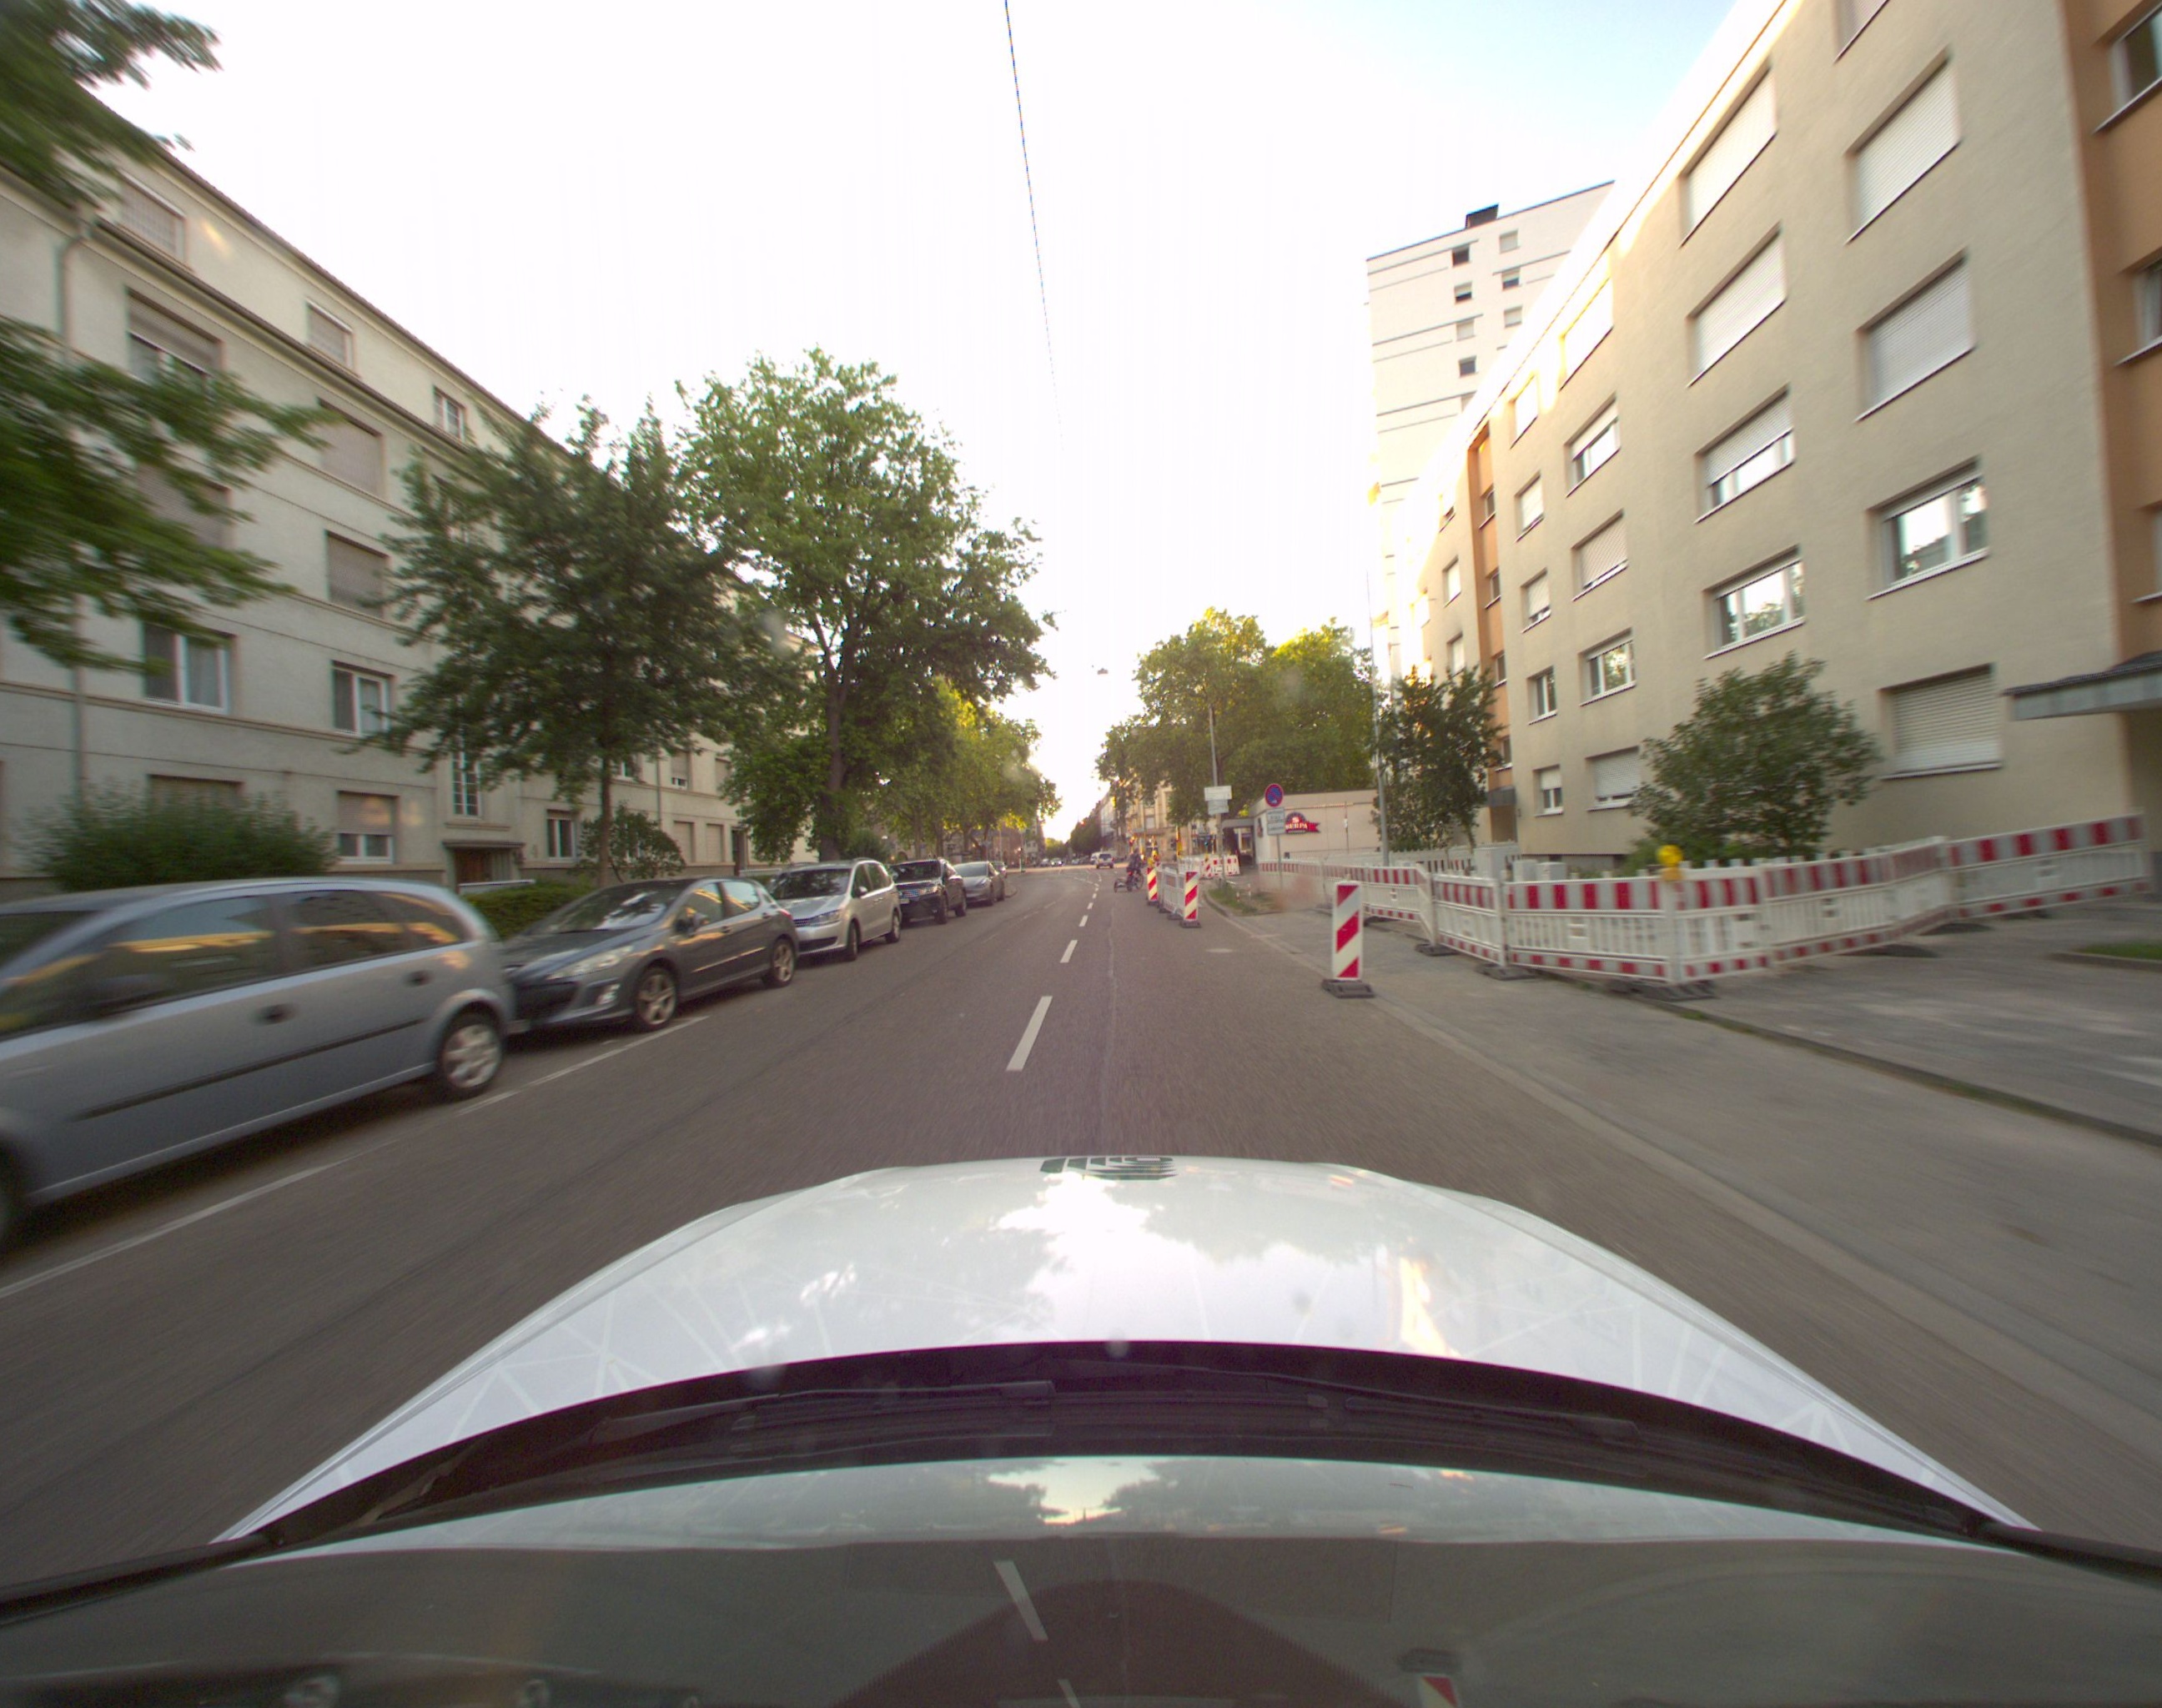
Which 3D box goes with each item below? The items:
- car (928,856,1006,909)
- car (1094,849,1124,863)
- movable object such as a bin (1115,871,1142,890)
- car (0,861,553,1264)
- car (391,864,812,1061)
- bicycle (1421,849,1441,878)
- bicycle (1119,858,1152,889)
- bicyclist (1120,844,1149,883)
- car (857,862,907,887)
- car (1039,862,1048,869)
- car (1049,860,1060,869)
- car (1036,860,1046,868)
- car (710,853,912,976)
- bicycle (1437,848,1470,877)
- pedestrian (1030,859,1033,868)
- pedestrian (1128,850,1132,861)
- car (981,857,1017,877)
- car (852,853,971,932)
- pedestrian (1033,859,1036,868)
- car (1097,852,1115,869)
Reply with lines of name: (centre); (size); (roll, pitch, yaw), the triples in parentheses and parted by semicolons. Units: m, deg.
car: (-4.058, 0.985, 29.759); (1.946, 1.616, 4.607); (-5, 0, 2)
car: (5.311, 0.395, 155.860); (5.855, 2.288, 2.047); (-3, 0, -41)
movable object such as a bin: (1.993, 1.091, 33.956); (0.933, 0.689, 0.997); (-6, -1, 13)
car: (-5.182, 0.933, 4.408); (1.701, 1.600, 4.119); (-6, -1, 2)
car: (-4.839, 0.968, 9.112); (1.724, 1.497, 4.278); (-5, 0, 6)
bicycle: (12.511, 0.319, 29.067); (0.539, 0.968, 1.825); (-3, 0, 25)
bicycle: (2.397, 0.840, 35.595); (0.933, 1.172, 2.367); (-6, -1, 13)
bicyclist: (2.334, 0.404, 35.504); (0.933, 1.581, 1.150); (-6, -1, 13)
car: (-17.442, 1.777, 71.511); (1.803, 1.800, 4.656); (-3, 0, 21)
car: (-8.815, 2.620, 190.372); (1.991, 1.651, 3.813); (-2, -1, -6)
car: (-5.192, 2.090, 160.666); (1.779, 1.651, 3.813); (-2, -1, -6)
car: (-8.950, 2.285, 182.584); (1.991, 1.651, 3.813); (-2, -1, -6)
car: (-4.564, 0.929, 14.666); (1.840, 1.690, 4.859); (-5, 0, 0)
bicycle: (13.363, 0.295, 29.234); (0.541, 0.968, 1.700); (-3, 0, 7)
pedestrian: (-10.778, 2.099, 177.662); (0.590, 1.886, 0.586); (-3, -1, 7)
pedestrian: (8.460, 0.303, 141.064); (0.590, 1.886, 0.648); (-3, -1, 4)
car: (-6.964, 1.120, 69.737); (1.981, 1.519, 4.011); (-3, 0, 10)
car: (-4.385, 0.931, 21.922); (1.946, 1.719, 4.772); (-5, 0, 1)
pedestrian: (-10.110, 2.082, 177.626); (0.590, 1.886, 0.555); (-3, -1, 9)
car: (2.861, 0.769, 93.539); (1.860, 1.815, 4.000); (-4, -1, 1)
